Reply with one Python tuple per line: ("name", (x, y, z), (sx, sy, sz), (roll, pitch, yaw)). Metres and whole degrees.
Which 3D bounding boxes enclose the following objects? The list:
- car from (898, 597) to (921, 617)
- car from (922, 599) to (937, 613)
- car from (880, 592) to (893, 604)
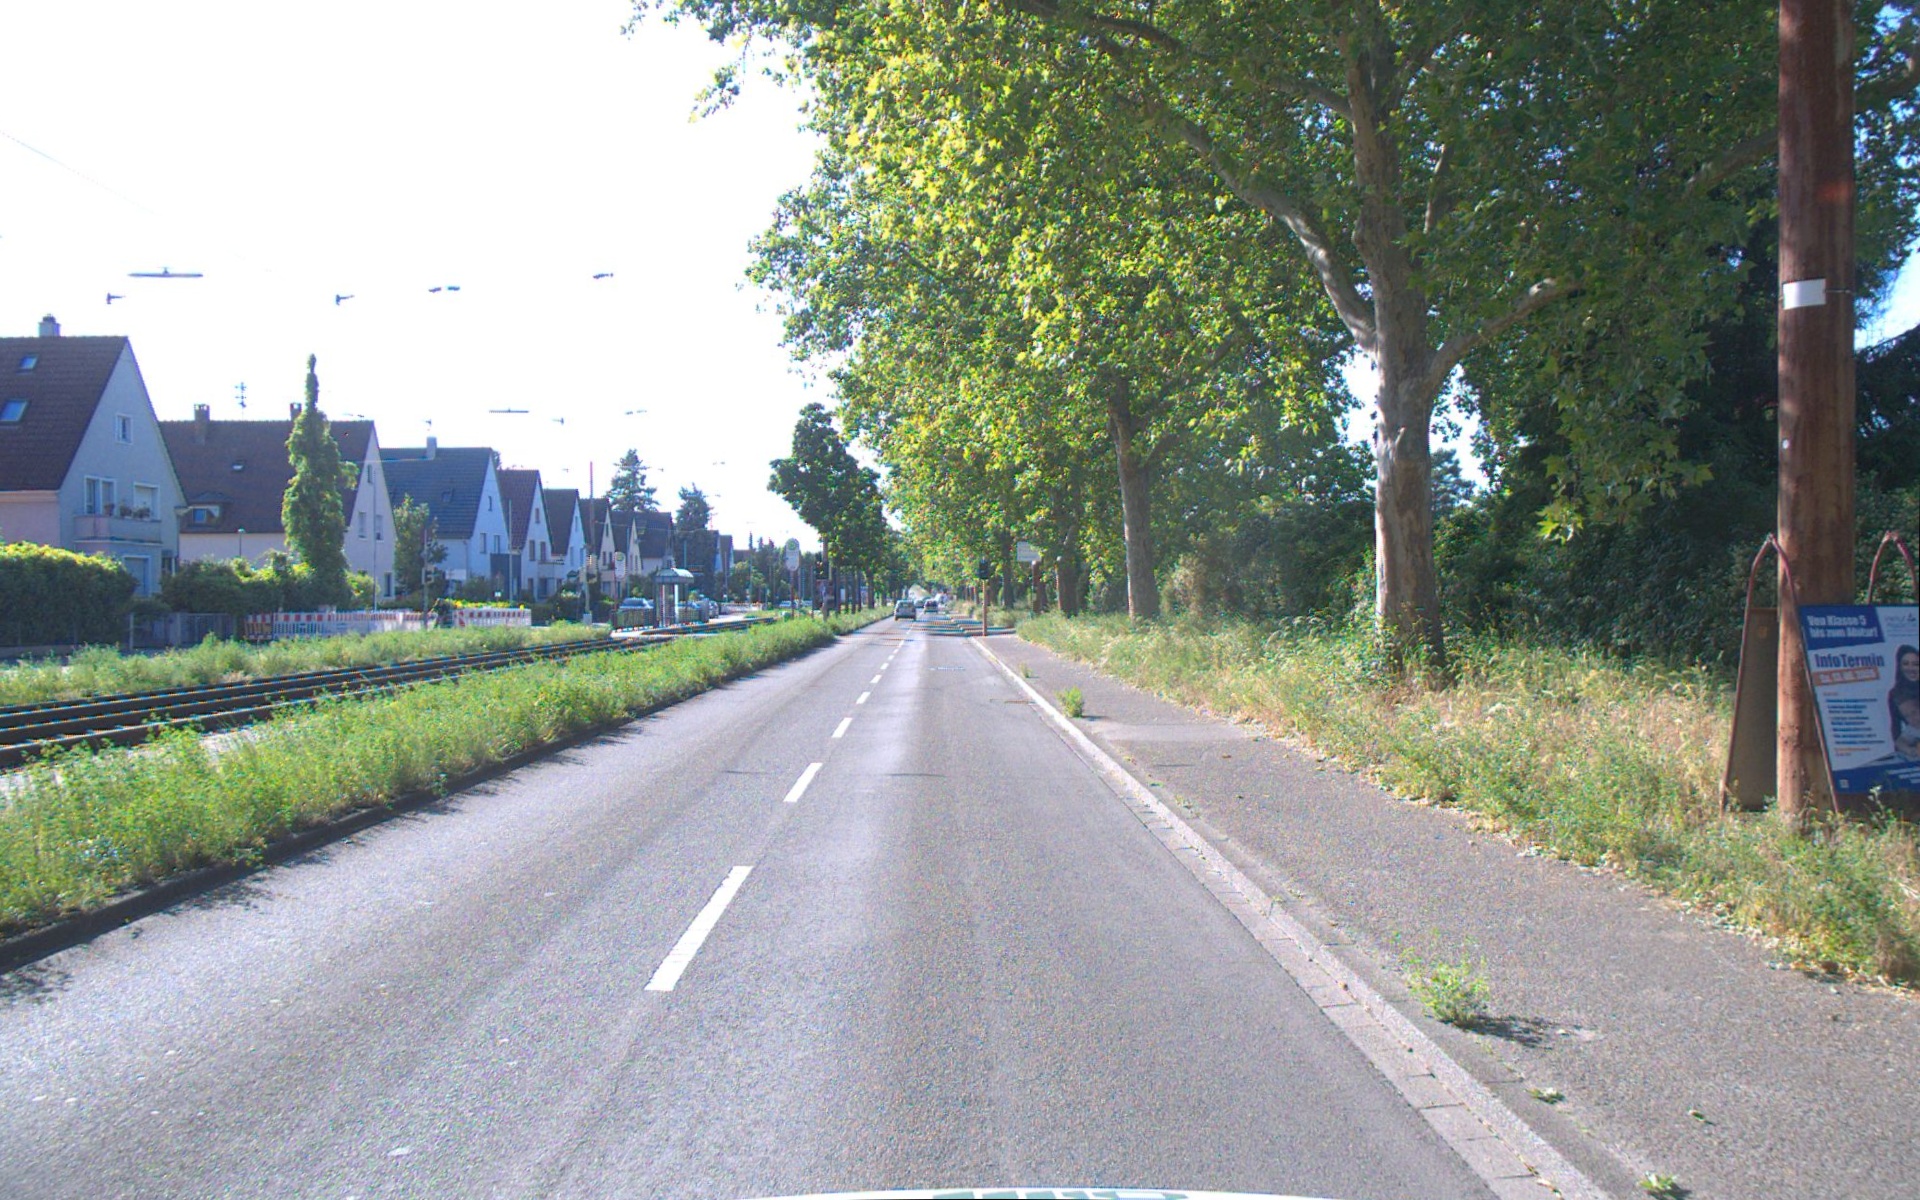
("car", (-3.720, 0.520, 122.330), (1.703, 1.425, 3.276), (0, 0, -1))
("car", (-3.502, 0.705, 191.916), (1.725, 1.539, 3.276), (0, 0, 0))
("car", (-8.956, -0.221, 202.173), (1.496, 1.480, 3.286), (0, 0, 0))
